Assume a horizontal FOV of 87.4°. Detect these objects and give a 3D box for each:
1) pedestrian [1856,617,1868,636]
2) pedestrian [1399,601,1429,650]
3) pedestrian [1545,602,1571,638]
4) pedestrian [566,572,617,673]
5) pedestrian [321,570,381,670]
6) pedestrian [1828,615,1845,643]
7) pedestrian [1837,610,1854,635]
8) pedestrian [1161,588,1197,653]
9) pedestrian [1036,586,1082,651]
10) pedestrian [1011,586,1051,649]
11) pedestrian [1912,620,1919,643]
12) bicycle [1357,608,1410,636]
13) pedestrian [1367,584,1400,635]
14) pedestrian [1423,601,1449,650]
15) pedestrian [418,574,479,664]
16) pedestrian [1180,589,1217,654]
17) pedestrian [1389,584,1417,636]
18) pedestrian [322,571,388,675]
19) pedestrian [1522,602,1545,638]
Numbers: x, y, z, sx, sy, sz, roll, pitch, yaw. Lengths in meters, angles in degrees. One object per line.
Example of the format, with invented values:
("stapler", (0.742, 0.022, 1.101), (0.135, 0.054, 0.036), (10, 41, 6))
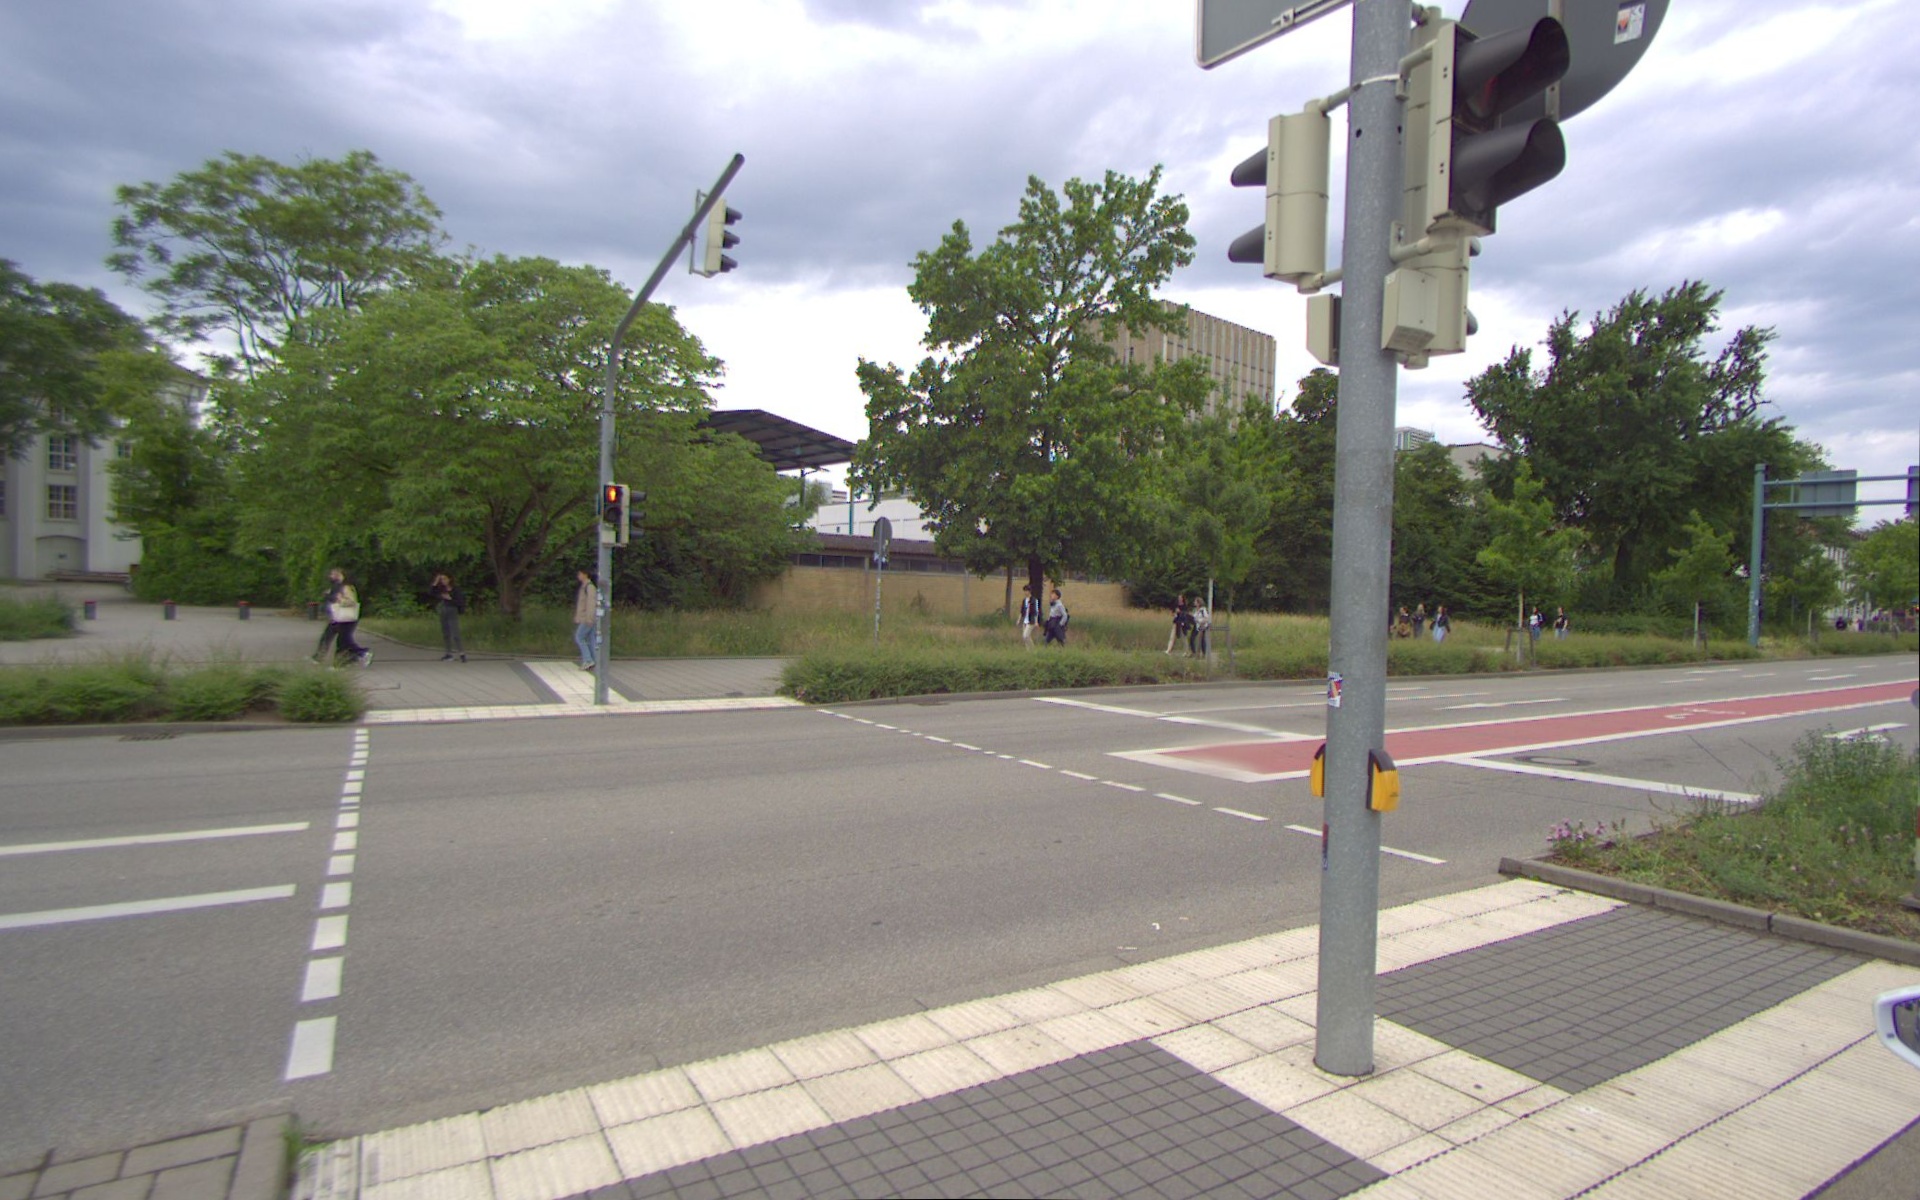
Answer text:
("pedestrian", (74.506, 2.207, 82.946), (0.562, 1.546, 0.848), (2, -3, 30))
("pedestrian", (15.982, 0.881, 35.367), (0.761, 1.695, 0.700), (0, 0, -42))
("pedestrian", (22.840, 0.752, 38.384), (0.705, 1.376, 0.640), (0, 0, -37))
("pedestrian", (-6.784, 0.400, 18.493), (0.753, 1.825, 0.633), (0, 2, -32))
("pedestrian", (-10.667, 0.330, 17.602), (0.880, 1.693, 0.702), (0, 2, -32))
("pedestrian", (54.655, 1.786, 62.647), (0.810, 1.752, 0.616), (0, 0, -36))
("pedestrian", (58.368, 1.492, 66.221), (0.665, 1.658, 0.695), (0, 0, -36))
("pedestrian", (5.983, 0.551, 27.441), (0.752, 1.735, 0.576), (0, 0, -29))
("pedestrian", (2.342, 0.436, 23.821), (0.804, 1.499, 0.724), (0, 0, -32))
("pedestrian", (1.736, 0.427, 24.481), (0.753, 1.499, 0.632), (0, 0, -32))
("pedestrian", (76.876, 2.538, 80.298), (0.825, 1.761, 0.831), (3, -3, 16))
("bicycle", (13.714, 0.706, 32.521), (1.693, 0.900, 0.658), (0, 0, -28))
("pedestrian", (13.716, 0.304, 32.520), (0.754, 1.653, 0.658), (0, 0, -28))
("pedestrian", (16.523, 0.883, 34.843), (0.715, 1.682, 0.580), (0, 0, -42))
("pedestrian", (-9.645, 0.348, 18.955), (0.624, 1.634, 0.828), (3, 3, 32))
("pedestrian", (6.397, 0.559, 26.960), (0.738, 1.718, 0.618), (0, 0, -32))
("pedestrian", (14.099, 0.330, 31.965), (0.608, 1.630, 0.573), (0, 0, -27))
("pedestrian", (-10.188, 0.370, 16.925), (0.933, 1.693, 0.702), (0, 2, -33))
("pedestrian", (22.394, 0.789, 39.243), (0.638, 1.381, 0.676), (0, 0, 44))
